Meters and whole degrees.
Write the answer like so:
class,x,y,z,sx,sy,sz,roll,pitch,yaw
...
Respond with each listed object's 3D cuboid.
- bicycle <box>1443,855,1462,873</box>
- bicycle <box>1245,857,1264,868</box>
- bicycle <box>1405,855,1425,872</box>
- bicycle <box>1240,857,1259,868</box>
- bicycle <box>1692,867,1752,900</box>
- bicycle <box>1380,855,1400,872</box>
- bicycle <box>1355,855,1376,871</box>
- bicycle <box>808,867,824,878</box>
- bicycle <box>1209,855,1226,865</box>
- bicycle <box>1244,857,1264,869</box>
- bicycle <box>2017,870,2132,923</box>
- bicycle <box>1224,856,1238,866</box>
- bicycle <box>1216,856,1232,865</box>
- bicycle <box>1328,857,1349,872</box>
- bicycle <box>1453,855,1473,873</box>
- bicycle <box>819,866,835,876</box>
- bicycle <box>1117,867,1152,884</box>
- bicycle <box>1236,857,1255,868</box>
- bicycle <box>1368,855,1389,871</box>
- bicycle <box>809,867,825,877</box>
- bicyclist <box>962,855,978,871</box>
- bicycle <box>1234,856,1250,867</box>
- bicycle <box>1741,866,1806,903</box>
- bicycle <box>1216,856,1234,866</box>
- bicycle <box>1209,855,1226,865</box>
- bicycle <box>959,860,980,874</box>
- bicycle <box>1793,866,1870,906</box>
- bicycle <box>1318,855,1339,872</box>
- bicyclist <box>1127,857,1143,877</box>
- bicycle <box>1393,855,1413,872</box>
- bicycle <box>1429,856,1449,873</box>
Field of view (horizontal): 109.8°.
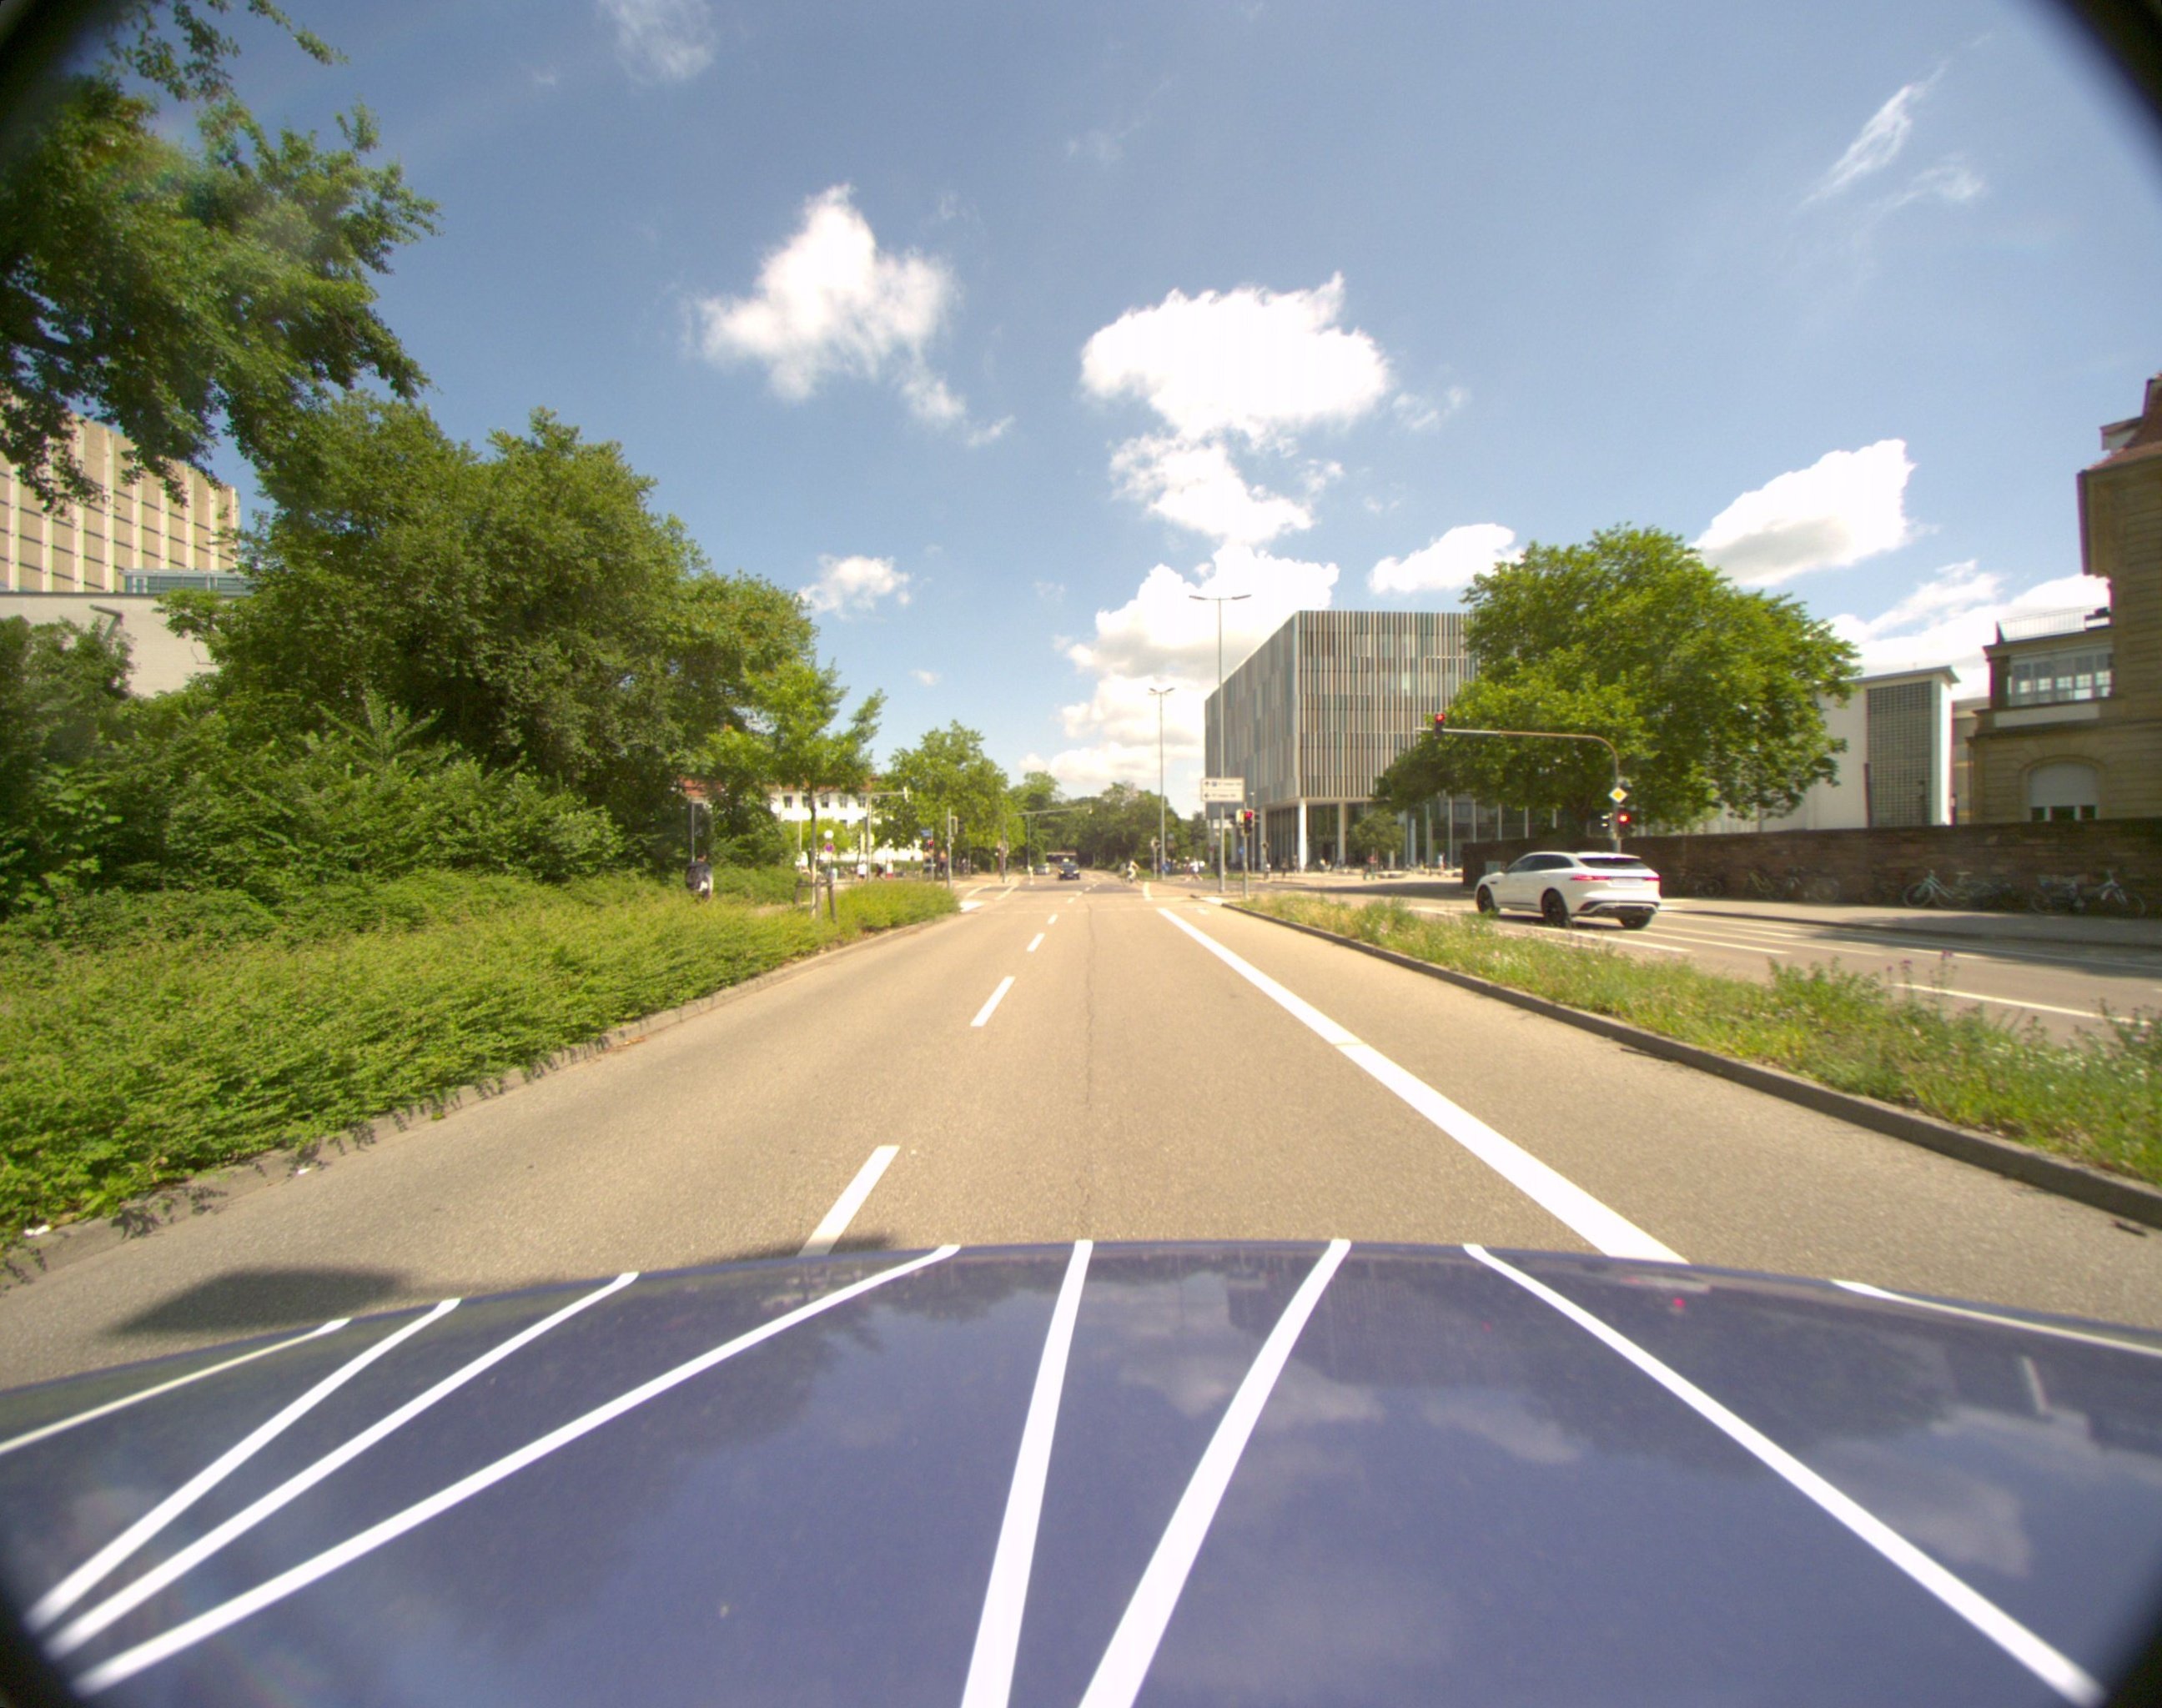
class,x,y,z,sx,sy,sz,roll,pitch,yaw
bicycle,34.246,0.900,69.976,0.997,1.543,3.422,0,0,37
bicycle,23.202,1.147,101.535,2.509,1.486,0.730,-1,0,10
bicycle,31.799,0.924,72.305,0.997,1.543,3.422,0,0,37
bicycle,23.332,1.113,105.116,2.511,1.486,0.621,-1,0,0
bicycle,22.122,0.991,26.250,0.573,1.092,1.593,-1,0,-8
bicycle,30.285,0.916,74.403,0.997,1.543,3.422,0,0,37
bicycle,28.597,0.913,76.310,1.049,1.543,3.422,0,0,37
bicycle,-24.410,1.687,69.991,1.371,0.945,0.352,-1,0,-6
bicycle,21.758,0.977,121.009,2.511,1.486,0.621,-1,0,0
bicycle,22.923,1.161,100.527,2.451,1.486,0.621,-1,0,0
bicycle,22.908,0.953,17.554,0.403,1.145,1.590,-1,0,-33
bicycle,22.449,1.040,113.643,2.071,1.486,0.621,-1,0,0
bicycle,22.307,0.996,118.387,2.330,1.486,0.621,-1,0,0
bicycle,26.499,1.050,78.212,2.693,1.485,0.930,-1,0,-45
bicycle,34.376,0.898,68.317,0.997,1.543,3.422,0,0,37
bicycle,-24.079,1.590,72.115,1.371,0.945,0.352,-1,0,-6
bicycle,3.400,1.340,47.976,2.167,0.992,0.646,-1,0,-29
bicycle,22.596,1.128,104.212,2.511,1.486,0.621,-1,0,0
bicycle,29.502,0.915,75.279,0.997,1.543,3.422,0,0,37
bicycle,-24.520,1.688,70.558,1.371,0.941,0.352,-1,0,-6
bicyclist,-10.154,0.842,69.397,0.974,1.436,1.074,-1,1,-42
bicycle,22.723,1.098,107.309,2.200,1.486,0.621,-1,0,0
bicycle,22.350,0.962,24.568,0.500,1.145,1.593,-1,0,-8
bicycle,22.013,1.020,116.203,2.511,1.486,0.621,-1,0,0
bicycle,21.862,0.969,121.710,2.511,1.486,0.621,-1,0,0
bicycle,-10.194,1.181,69.468,0.887,1.244,2.159,-1,0,-42
bicycle,22.489,0.949,22.819,0.623,1.145,1.593,-1,0,-8
bicycle,25.726,0.968,78.939,0.808,1.634,3.422,0,0,41
bicyclist,3.412,0.807,47.995,0.835,1.219,0.617,-1,0,-31
bicycle,31.117,0.920,73.486,0.997,1.543,3.422,0,0,37
bicycle,33.342,0.925,70.670,0.997,1.543,3.422,0,0,37
